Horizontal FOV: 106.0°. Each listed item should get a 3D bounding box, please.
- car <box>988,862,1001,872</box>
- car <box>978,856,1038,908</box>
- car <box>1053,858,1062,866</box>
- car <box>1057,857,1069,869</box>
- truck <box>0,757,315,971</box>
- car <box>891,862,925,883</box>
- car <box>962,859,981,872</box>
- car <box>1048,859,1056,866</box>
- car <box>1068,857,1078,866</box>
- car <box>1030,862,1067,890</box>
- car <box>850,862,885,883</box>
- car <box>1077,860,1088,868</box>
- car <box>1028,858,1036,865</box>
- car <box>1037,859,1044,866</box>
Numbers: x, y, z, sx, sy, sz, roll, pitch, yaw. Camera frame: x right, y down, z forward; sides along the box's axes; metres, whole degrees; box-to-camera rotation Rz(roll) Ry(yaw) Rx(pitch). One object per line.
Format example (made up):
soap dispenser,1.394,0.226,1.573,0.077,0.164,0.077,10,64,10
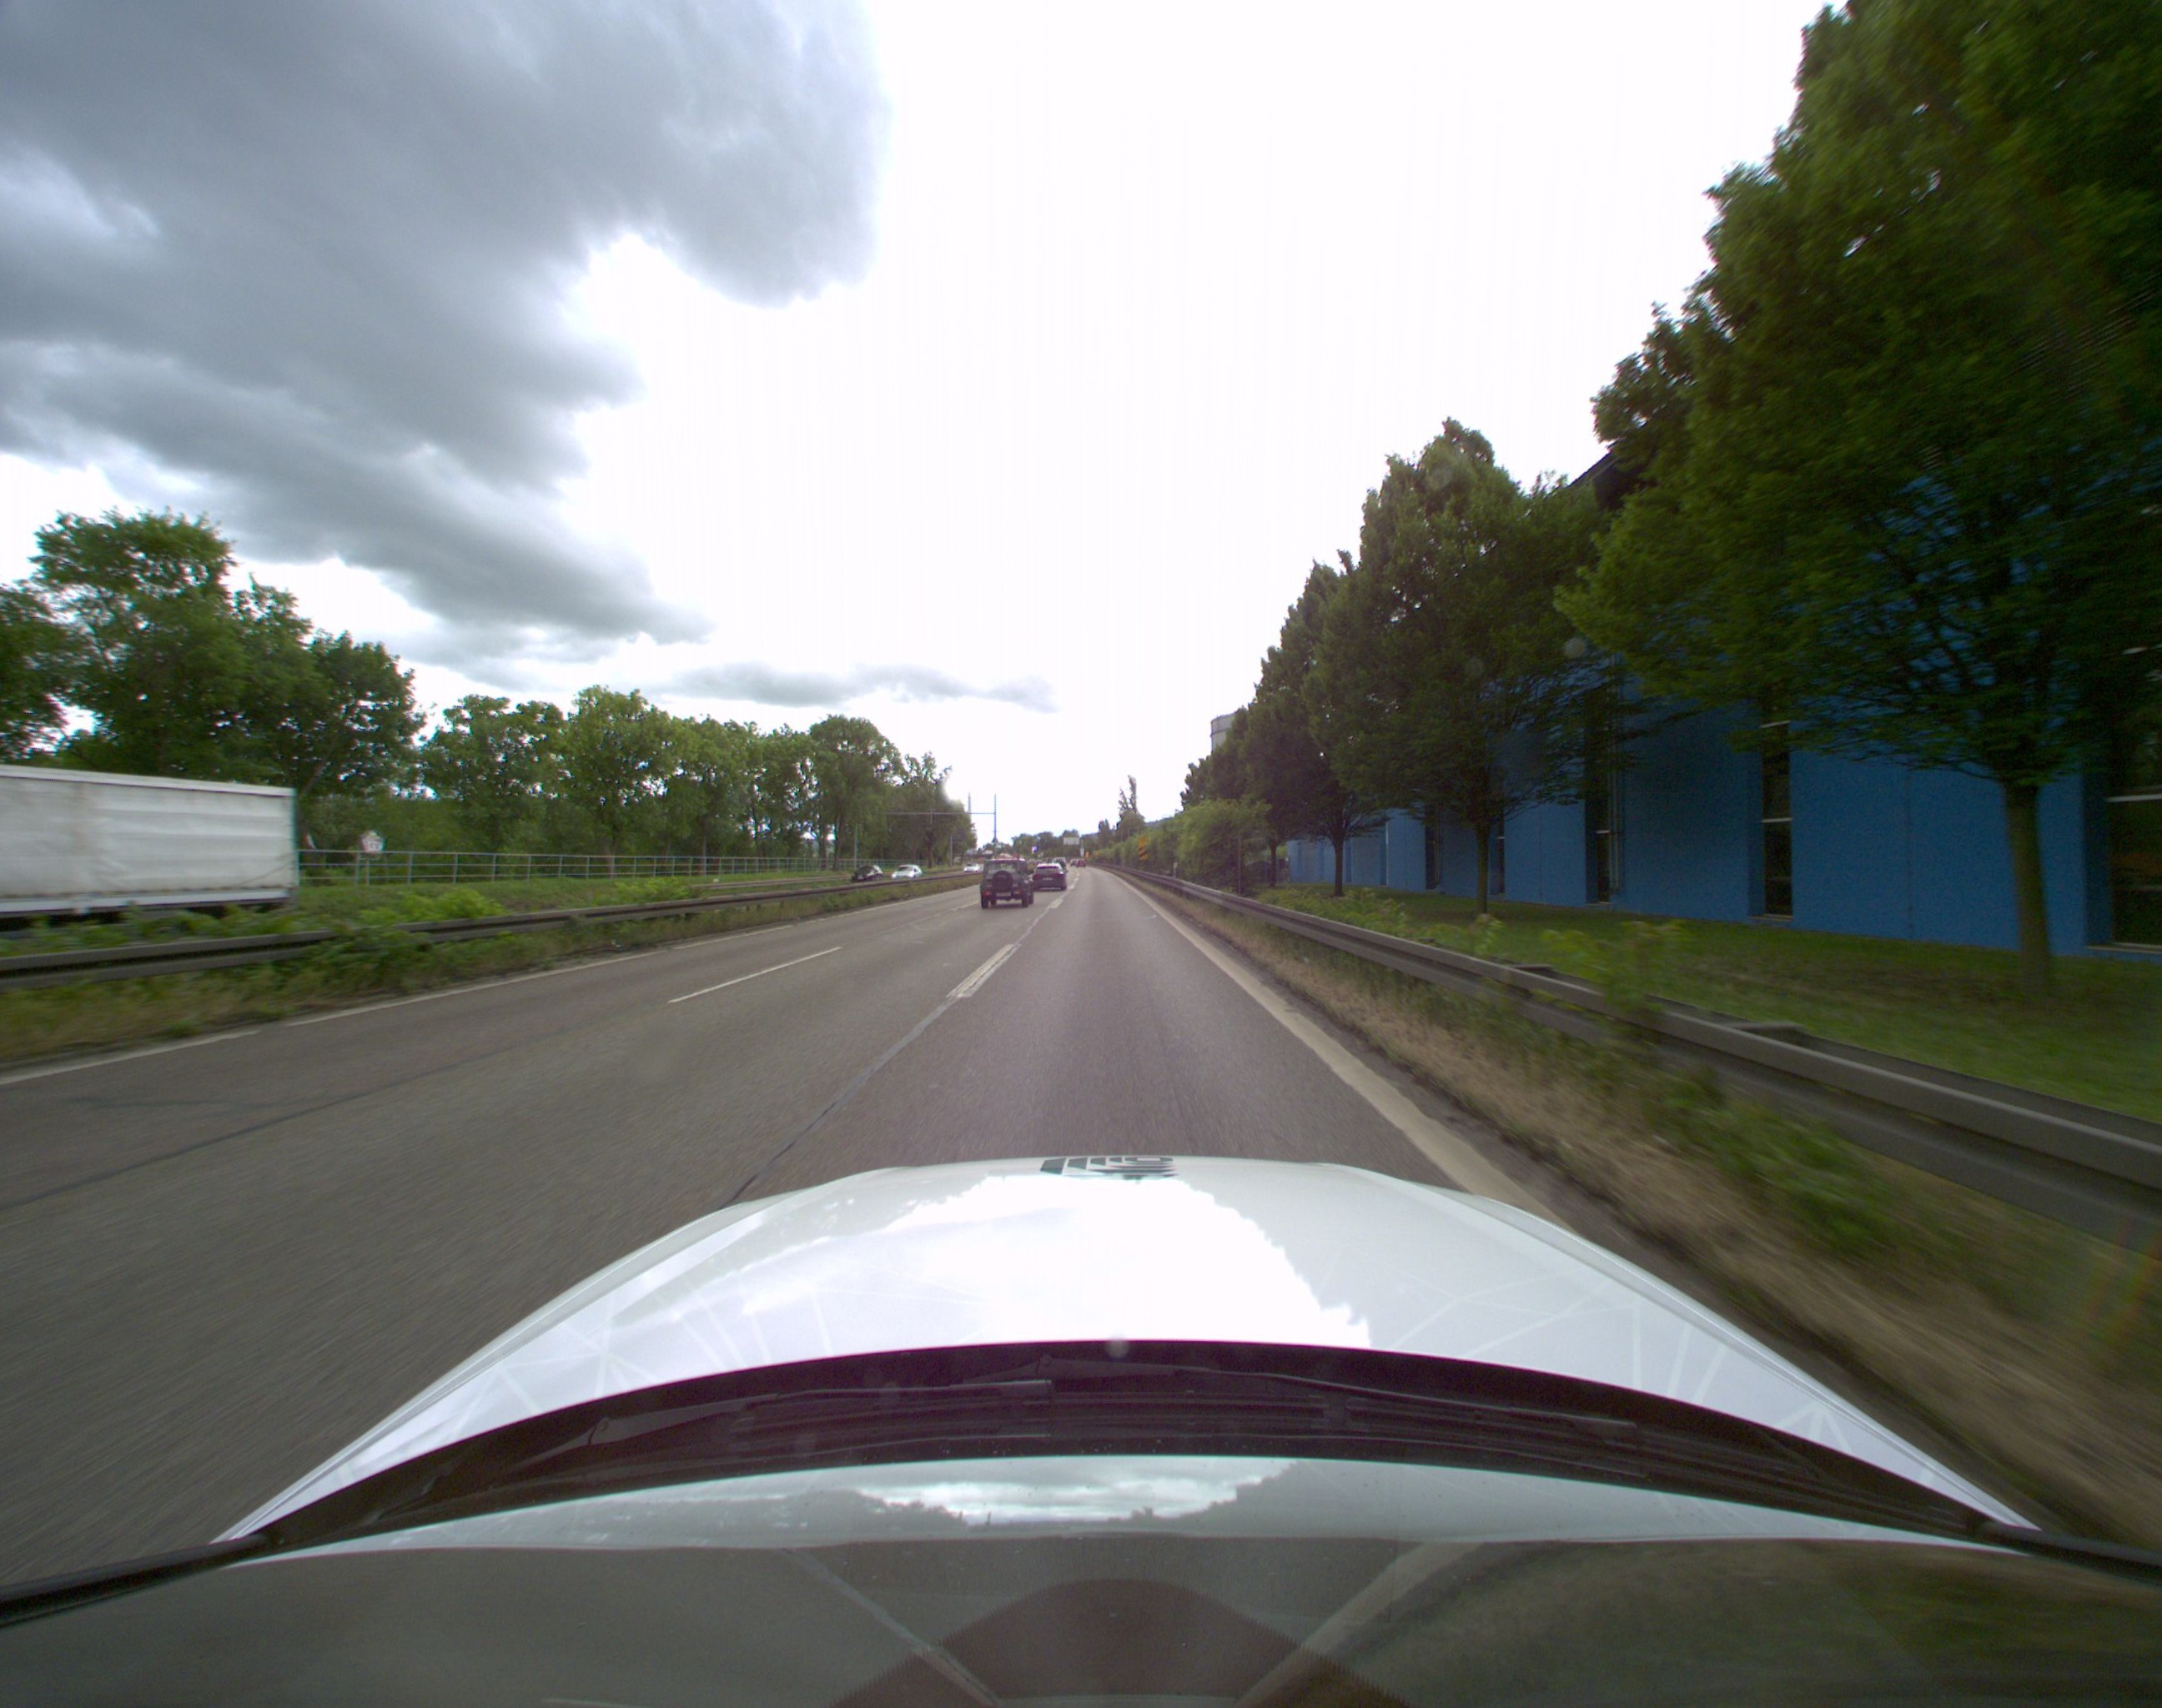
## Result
car,-15.628,2.315,147.040,1.720,1.775,3.742,-1,-1,1
car,-2.564,0.946,29.358,1.692,1.686,4.000,-2,0,1
car,-5.975,2.004,207.482,2.008,1.934,4.895,-2,0,-3
car,-2.817,1.384,125.783,1.692,1.742,4.000,-1,0,1
truck,-19.522,0.195,14.227,2.877,3.579,9.593,-1,-1,3
car,-14.331,1.521,67.701,1.691,1.605,4.540,-3,0,2
car,-14.950,1.585,111.193,1.860,1.674,4.718,-2,0,0
car,-8.050,2.284,225.309,2.011,1.934,4.889,-1,0,-7
car,-1.722,1.583,175.021,1.695,1.742,4.386,-1,-1,-5
car,-1.687,1.143,44.058,1.839,1.423,4.899,0,0,0
car,-17.833,1.534,68.114,1.720,1.605,4.043,-3,0,2
car,0.265,1.851,151.510,1.970,1.423,4.895,-2,0,-3
car,-15.178,2.313,253.081,2.012,1.934,4.886,-1,0,-8
car,-10.486,2.243,210.747,1.695,1.742,4.385,-2,0,-5
